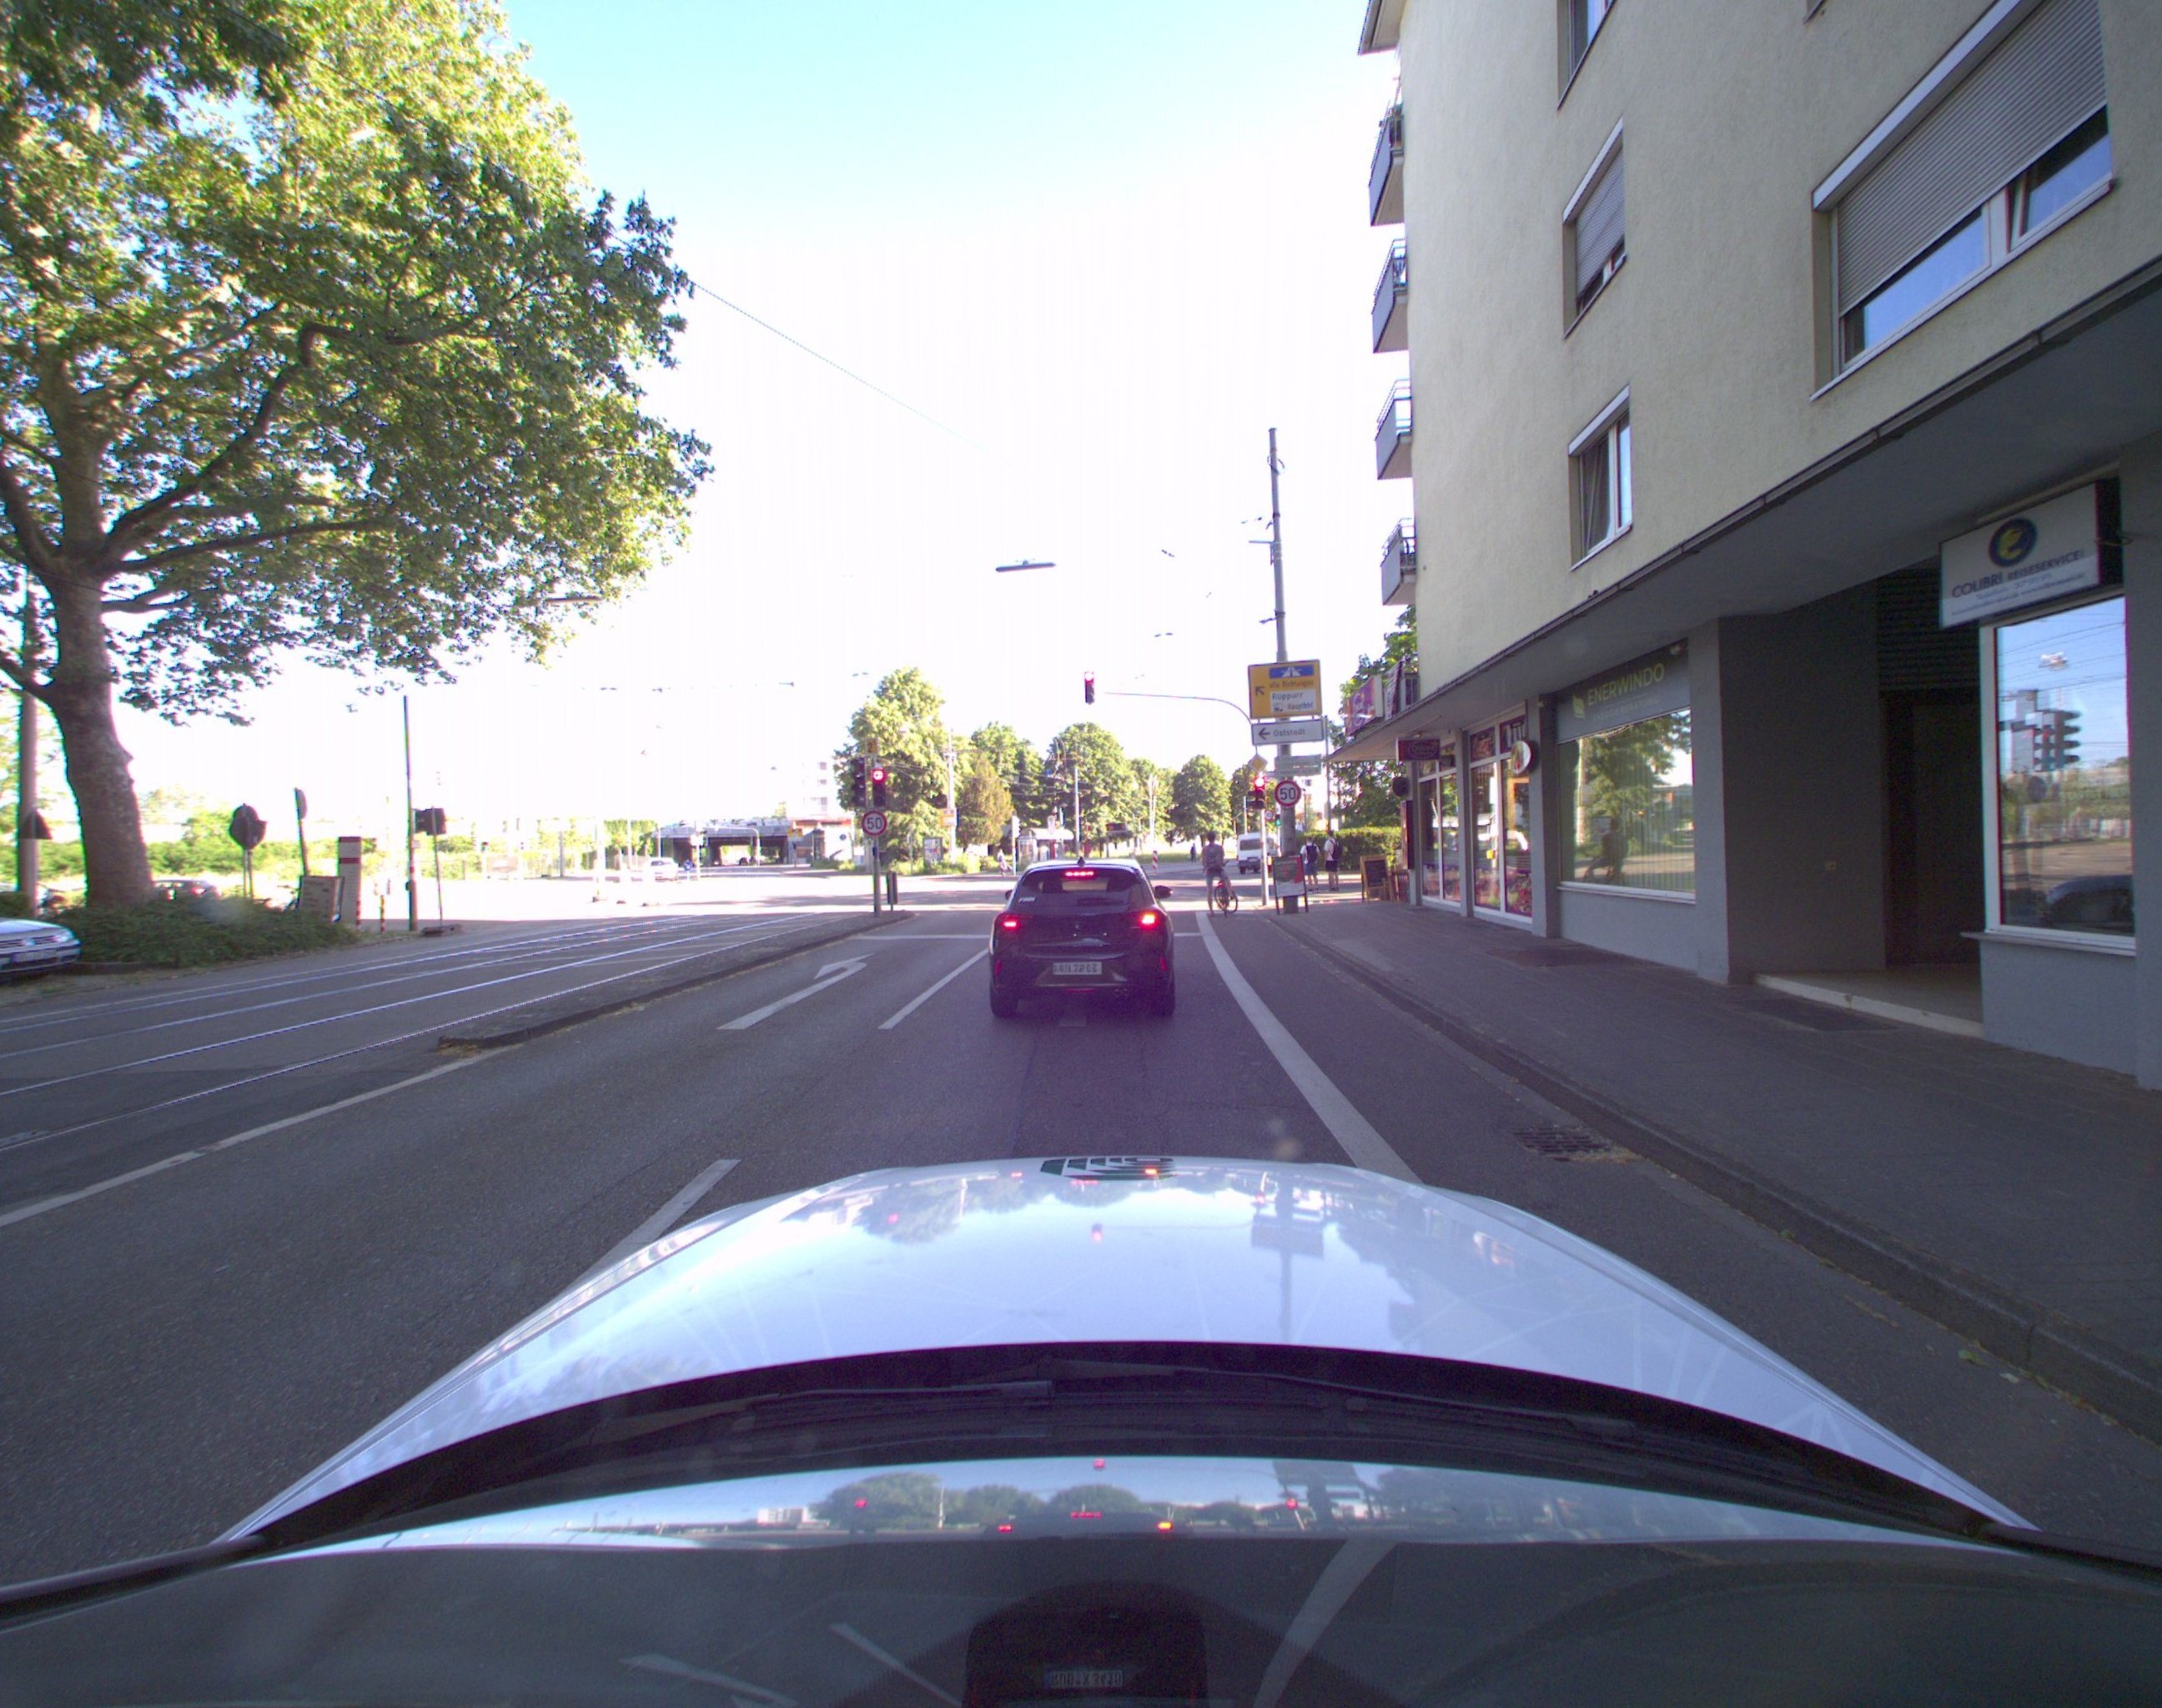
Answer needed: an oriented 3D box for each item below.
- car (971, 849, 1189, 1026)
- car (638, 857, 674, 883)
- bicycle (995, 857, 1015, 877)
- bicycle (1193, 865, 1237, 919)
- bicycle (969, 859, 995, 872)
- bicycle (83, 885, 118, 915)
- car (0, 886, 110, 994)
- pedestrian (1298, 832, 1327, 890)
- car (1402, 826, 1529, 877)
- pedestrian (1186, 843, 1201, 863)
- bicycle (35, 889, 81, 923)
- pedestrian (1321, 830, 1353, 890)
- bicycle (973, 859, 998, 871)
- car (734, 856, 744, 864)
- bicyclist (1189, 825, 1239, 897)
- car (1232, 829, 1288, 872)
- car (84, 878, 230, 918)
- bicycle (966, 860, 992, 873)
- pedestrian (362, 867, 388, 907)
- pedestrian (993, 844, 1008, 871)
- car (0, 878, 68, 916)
[{"bbox_3d":[0.105,0.696,8.835,1.793,1.441,3.943,-2,0,3],"label":"car"},{"bbox_3d":[-29.507,1.076,56.473,2.006,1.631,4.587,-2,1,-29],"label":"car"},{"bbox_3d":[-4.366,0.749,46.896,0.821,1.059,1.885,-2,0,4],"label":"bicycle"},{"bbox_3d":[2.925,0.808,17.912,0.665,1.059,2.083,-2,0,2],"label":"bicycle"},{"bbox_3d":[-7.927,0.922,65.186,1.866,0.906,0.661,-2,0,8],"label":"bicycle"},{"bbox_3d":[-26.340,1.228,21.867,1.757,0.759,0.360,-1,0,32],"label":"bicycle"},{"bbox_3d":[-16.671,1.205,11.341,3.980,1.417,1.701,0,-1,-5],"label":"car"},{"bbox_3d":[7.229,0.217,25.475,0.696,1.792,0.617,-2,0,1],"label":"pedestrian"},{"bbox_3d":[15.110,-0.063,32.227,4.150,1.814,1.811,-2,-3,10],"label":"car"},{"bbox_3d":[10.277,-0.122,74.368,0.949,1.793,1.002,-2,0,27],"label":"pedestrian"},{"bbox_3d":[-25.049,1.255,19.959,0.360,0.759,1.759,-2,0,-40],"label":"bicycle"},{"bbox_3d":[8.031,0.184,25.536,0.696,1.846,0.705,-2,0,41],"label":"pedestrian"},{"bbox_3d":[-7.750,0.927,66.053,1.866,0.906,0.661,-2,0,8],"label":"bicycle"},{"bbox_3d":[-82.397,1.476,196.269,2.003,2.014,3.967,0,-1,-25],"label":"car"},{"bbox_3d":[2.904,0.145,17.909,0.837,1.510,1.368,-2,0,0],"label":"bicyclist"},{"bbox_3d":[10.141,-0.177,45.951,2.070,2.277,4.331,-1,-1,26],"label":"car"},{"bbox_3d":[-43.193,2.017,38.215,4.006,1.419,1.880,-1,6,-25],"label":"car"},{"bbox_3d":[-8.053,0.975,64.203,1.866,0.906,0.661,-2,0,8],"label":"bicycle"},{"bbox_3d":[-28.443,1.330,32.807,0.602,1.596,0.679,0,-1,-24],"label":"pedestrian"},{"bbox_3d":[-5.190,0.241,52.793,0.702,1.693,0.721,-2,0,-28],"label":"pedestrian"},{"bbox_3d":[-48.400,1.934,36.020,4.006,1.419,1.880,-1,6,-25],"label":"car"}]
